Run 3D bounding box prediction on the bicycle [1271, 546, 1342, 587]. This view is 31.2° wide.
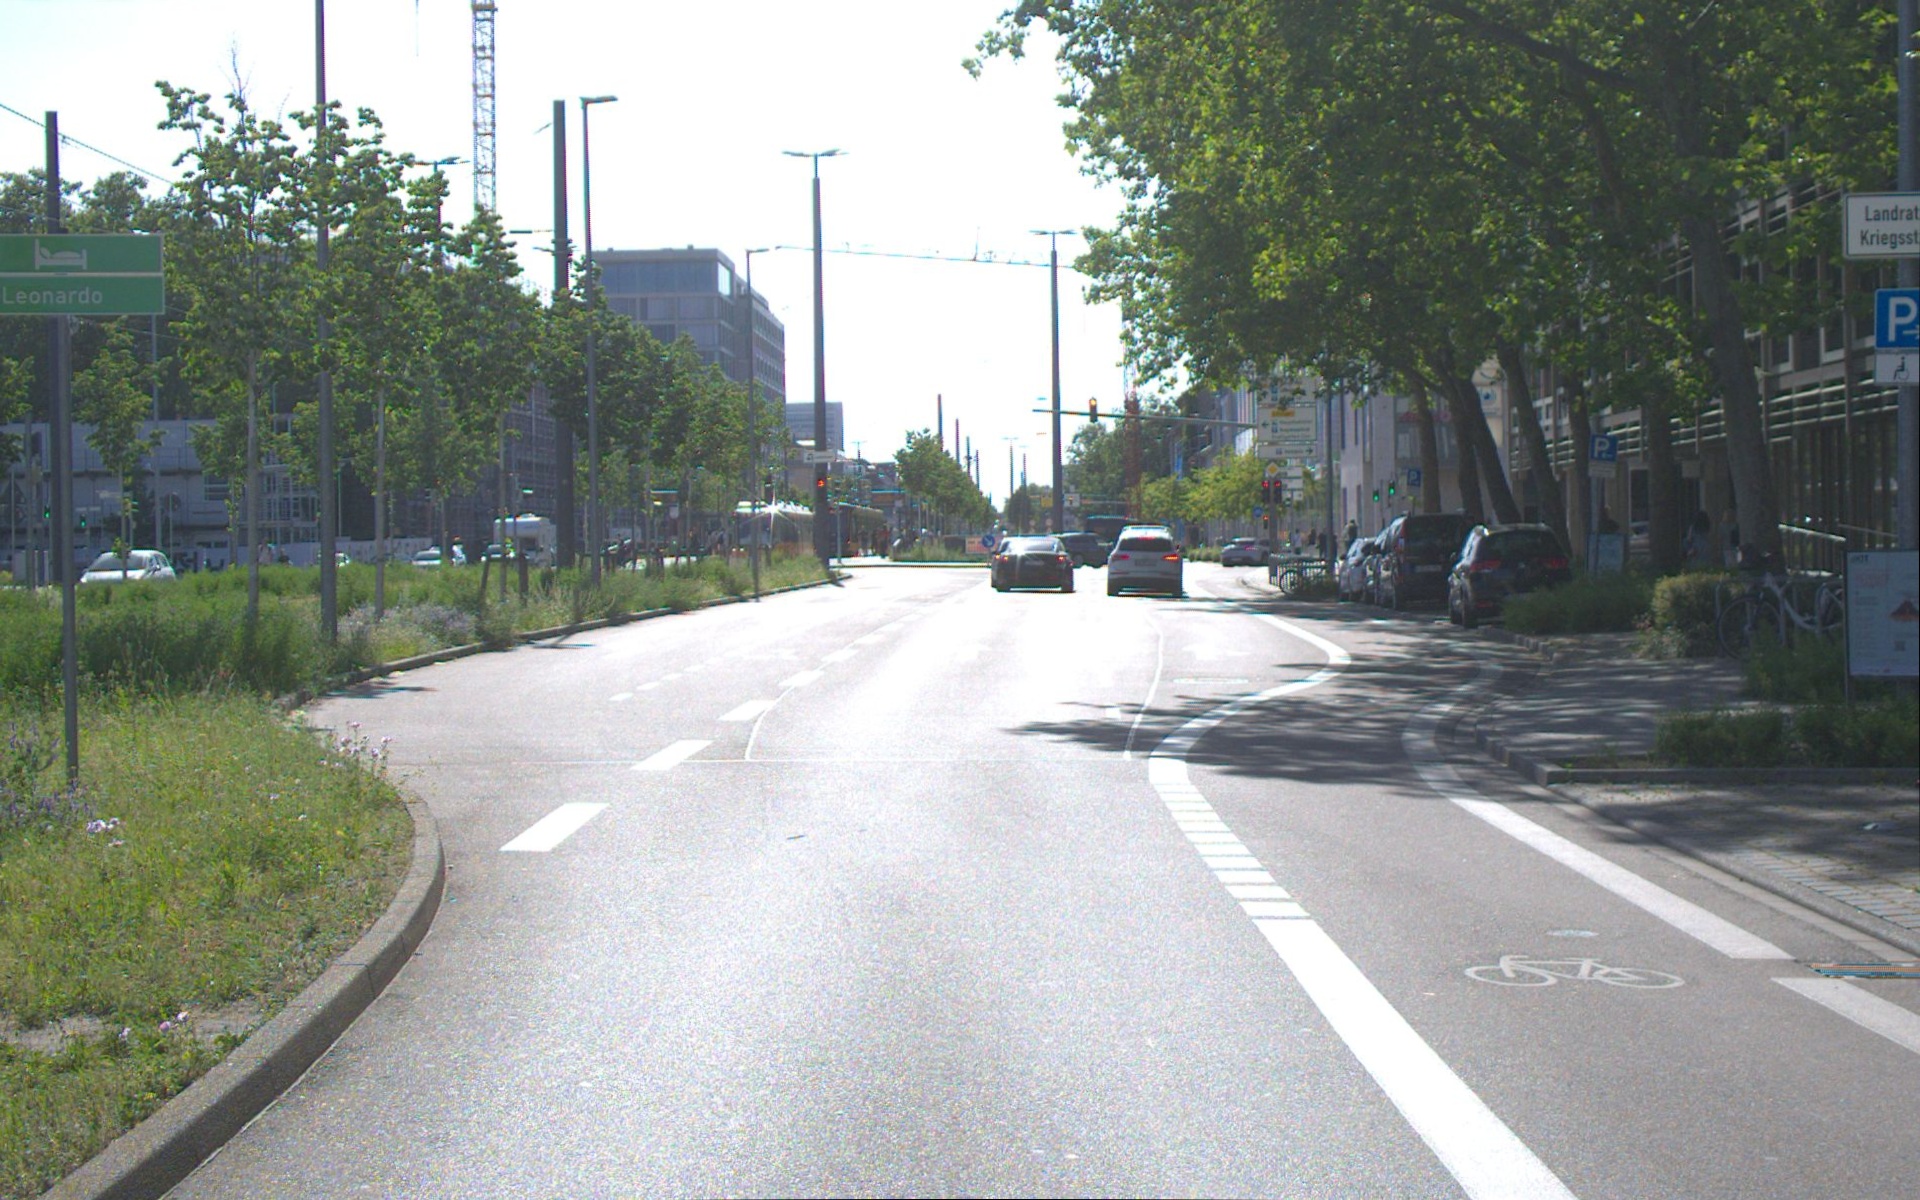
[{"bbox_3d":[8.741,-0.854,86.721,1.693,0.954,0.478,-2,1,-2],"label":"bicycle"}]

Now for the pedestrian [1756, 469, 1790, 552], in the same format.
[{"bbox_3d":[15.900,-1.752,67.257,0.553,1.597,0.573,0,1,2],"label":"pedestrian"}]

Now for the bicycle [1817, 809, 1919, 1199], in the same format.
[{"bbox_3d":[2.306,0.963,6.935,0.497,0.902,2.197,1,1,-3],"label":"bicycle"}]

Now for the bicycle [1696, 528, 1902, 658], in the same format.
[{"bbox_3d":[8.763,-0.079,35.936,1.937,1.232,0.579,-4,1,-1],"label":"bicycle"}]

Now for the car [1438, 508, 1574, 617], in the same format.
[{"bbox_3d":[8.600,-0.618,54.431,1.704,1.637,4.636,0,1,4],"label":"car"}]

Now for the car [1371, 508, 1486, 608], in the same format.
[{"bbox_3d":[8.925,-0.827,65.761,1.704,1.784,4.192,-3,1,2],"label":"car"}]

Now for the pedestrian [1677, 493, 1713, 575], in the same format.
[{"bbox_3d":[14.387,-1.293,67.273,0.505,1.579,0.635,-1,1,-6],"label":"pedestrian"}]

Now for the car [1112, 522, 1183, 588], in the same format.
[{"bbox_3d":[4.775,-1.167,87.244,1.722,1.612,4.186,0,1,4],"label":"car"}]

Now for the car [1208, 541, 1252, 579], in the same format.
[{"bbox_3d":[12.086,-1.767,154.059,1.662,1.643,3.701,1,0,0],"label":"car"}]

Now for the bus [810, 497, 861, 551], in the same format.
[{"bbox_3d":[-7.200,-4.379,199.619,2.627,2.949,9.899,1,0,-1],"label":"bus"}]

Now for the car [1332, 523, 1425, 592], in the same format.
[{"bbox_3d":[9.502,-0.993,78.298,1.704,1.487,4.600,-1,1,2],"label":"car"}]

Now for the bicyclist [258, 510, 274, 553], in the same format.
[{"bbox_3d":[-23.396,-2.319,115.935,0.394,1.449,0.539,1,1,1],"label":"bicyclist"}]

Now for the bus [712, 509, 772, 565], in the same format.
[{"bbox_3d":[-11.526,-3.308,182.601,2.627,2.773,8.845,1,0,-1],"label":"bus"}]

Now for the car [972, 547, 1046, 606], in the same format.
[{"bbox_3d":[1.303,-0.643,90.882,1.912,1.481,4.010,-1,1,1],"label":"car"}]

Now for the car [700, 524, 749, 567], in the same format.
[{"bbox_3d":[-10.352,-2.401,151.188,1.896,1.809,4.000,1,0,-1],"label":"car"}]

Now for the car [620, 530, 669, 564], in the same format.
[{"bbox_3d":[-11.253,-1.883,122.758,1.376,1.174,3.220,1,0,1],"label":"car"}]

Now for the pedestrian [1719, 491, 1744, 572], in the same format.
[{"bbox_3d":[15.104,-1.335,67.309,0.315,1.579,0.502,-1,1,-6],"label":"pedestrian"}]

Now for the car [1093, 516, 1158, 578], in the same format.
[{"bbox_3d":[4.844,-1.581,100.840,1.721,1.776,4.186,-1,1,1],"label":"car"}]

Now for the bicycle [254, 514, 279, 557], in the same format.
[{"bbox_3d":[-23.396,-2.187,115.971,0.360,1.450,1.913,0,2,2],"label":"bicycle"}]

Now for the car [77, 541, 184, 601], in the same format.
[{"bbox_3d":[-20.186,-0.721,83.773,1.633,1.393,3.833,-1,1,1],"label":"car"}]
